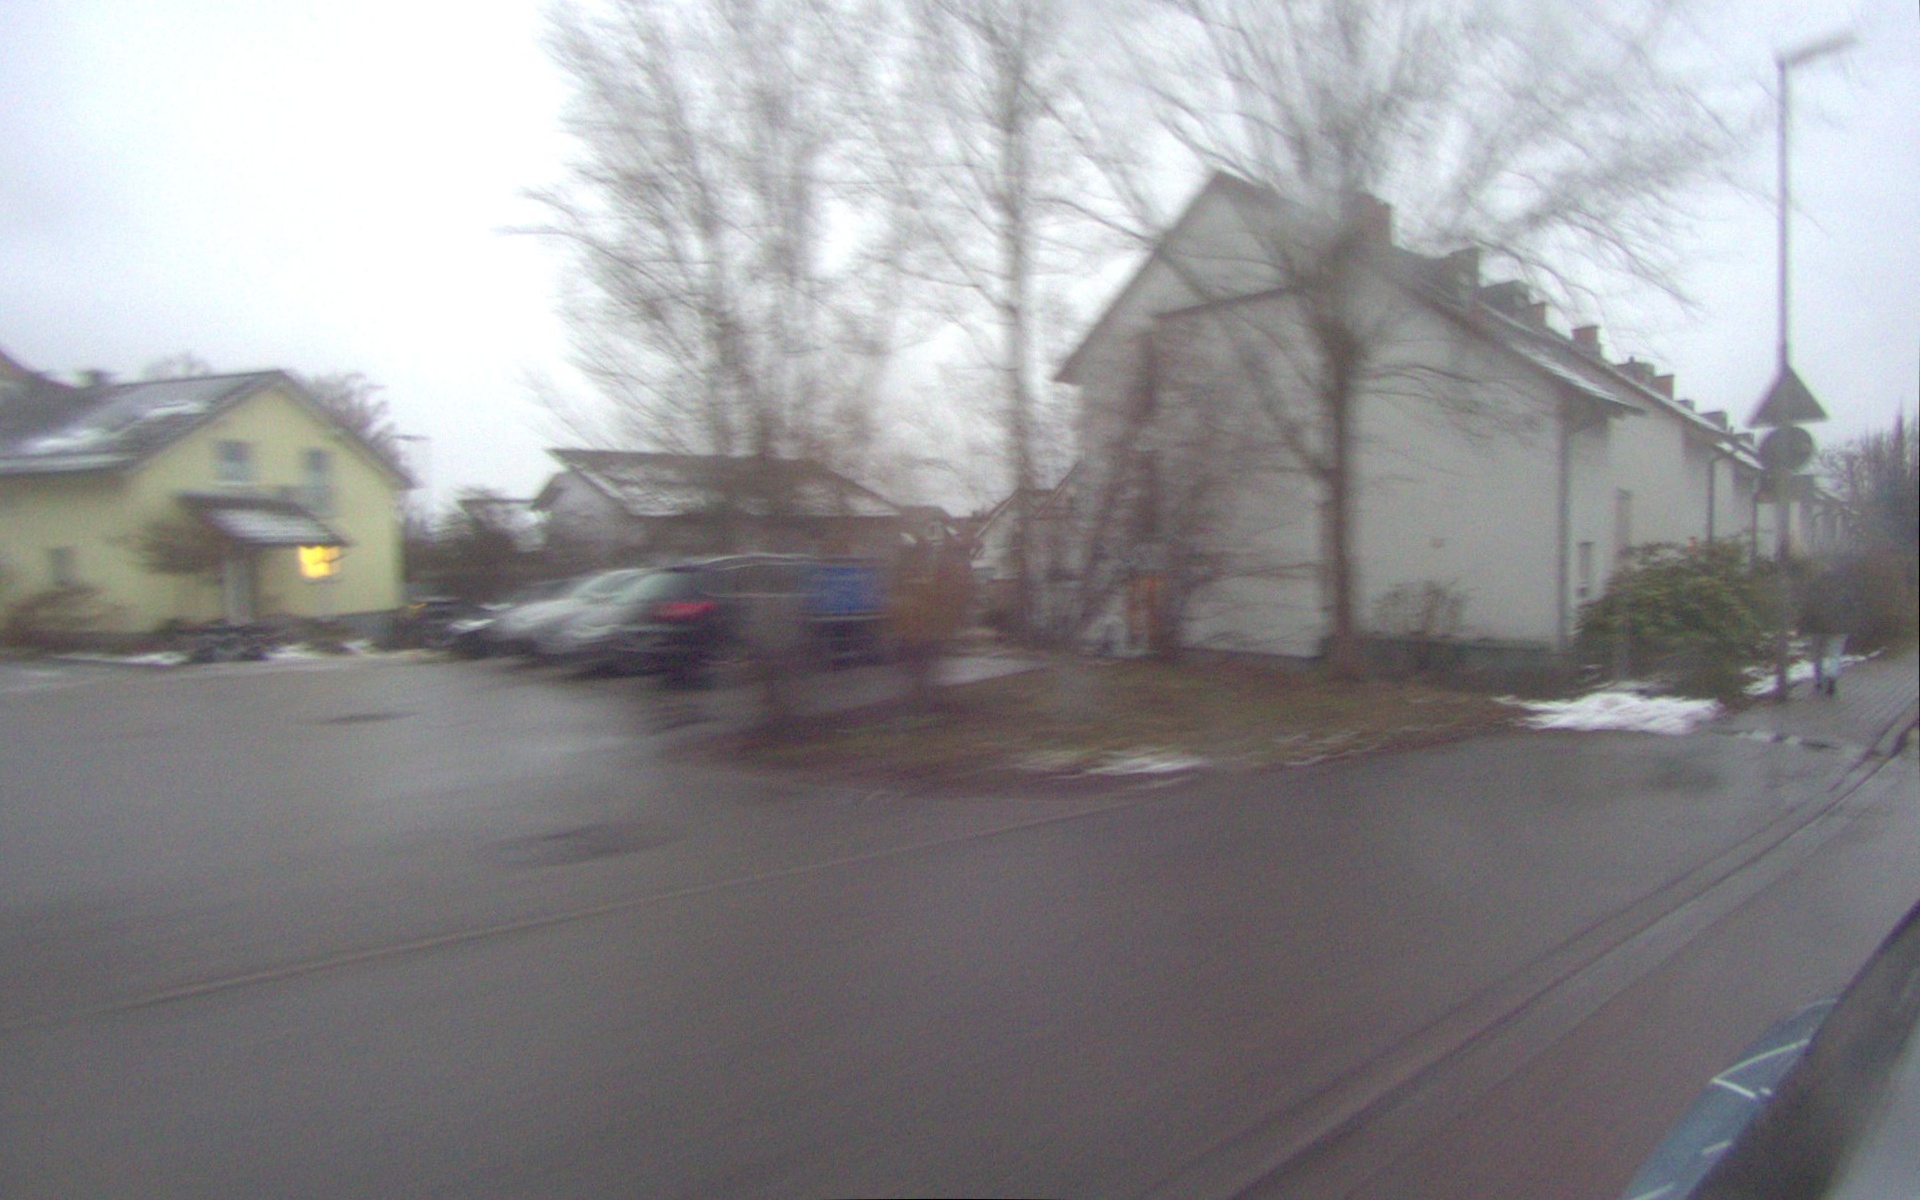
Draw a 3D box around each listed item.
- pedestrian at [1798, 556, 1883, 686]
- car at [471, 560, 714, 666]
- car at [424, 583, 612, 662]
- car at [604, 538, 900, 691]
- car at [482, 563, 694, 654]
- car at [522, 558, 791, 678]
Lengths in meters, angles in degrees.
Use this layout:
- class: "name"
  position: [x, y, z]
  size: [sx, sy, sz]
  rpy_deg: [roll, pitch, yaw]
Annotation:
- class: "pedestrian"
  position: [11.856, 0.257, 13.619]
  size: [0.954, 1.675, 0.744]
  rpy_deg: [0, 1, -43]
- class: "car"
  position: [-6.464, 0.143, 18.017]
  size: [3.678, 1.490, 1.641]
  rpy_deg: [-6, 5, -42]
- class: "car"
  position: [-9.406, 0.420, 21.662]
  size: [3.343, 1.293, 1.471]
  rpy_deg: [-6, 5, -42]
- class: "car"
  position: [-2.811, 0.086, 14.142]
  size: [3.678, 1.702, 1.641]
  rpy_deg: [-6, 5, -42]
- class: "car"
  position: [-7.536, 0.098, 20.689]
  size: [3.678, 1.490, 1.641]
  rpy_deg: [-6, 5, -42]
- class: "car"
  position: [-4.710, 0.183, 15.999]
  size: [3.678, 1.490, 1.641]
  rpy_deg: [-6, 5, -42]
